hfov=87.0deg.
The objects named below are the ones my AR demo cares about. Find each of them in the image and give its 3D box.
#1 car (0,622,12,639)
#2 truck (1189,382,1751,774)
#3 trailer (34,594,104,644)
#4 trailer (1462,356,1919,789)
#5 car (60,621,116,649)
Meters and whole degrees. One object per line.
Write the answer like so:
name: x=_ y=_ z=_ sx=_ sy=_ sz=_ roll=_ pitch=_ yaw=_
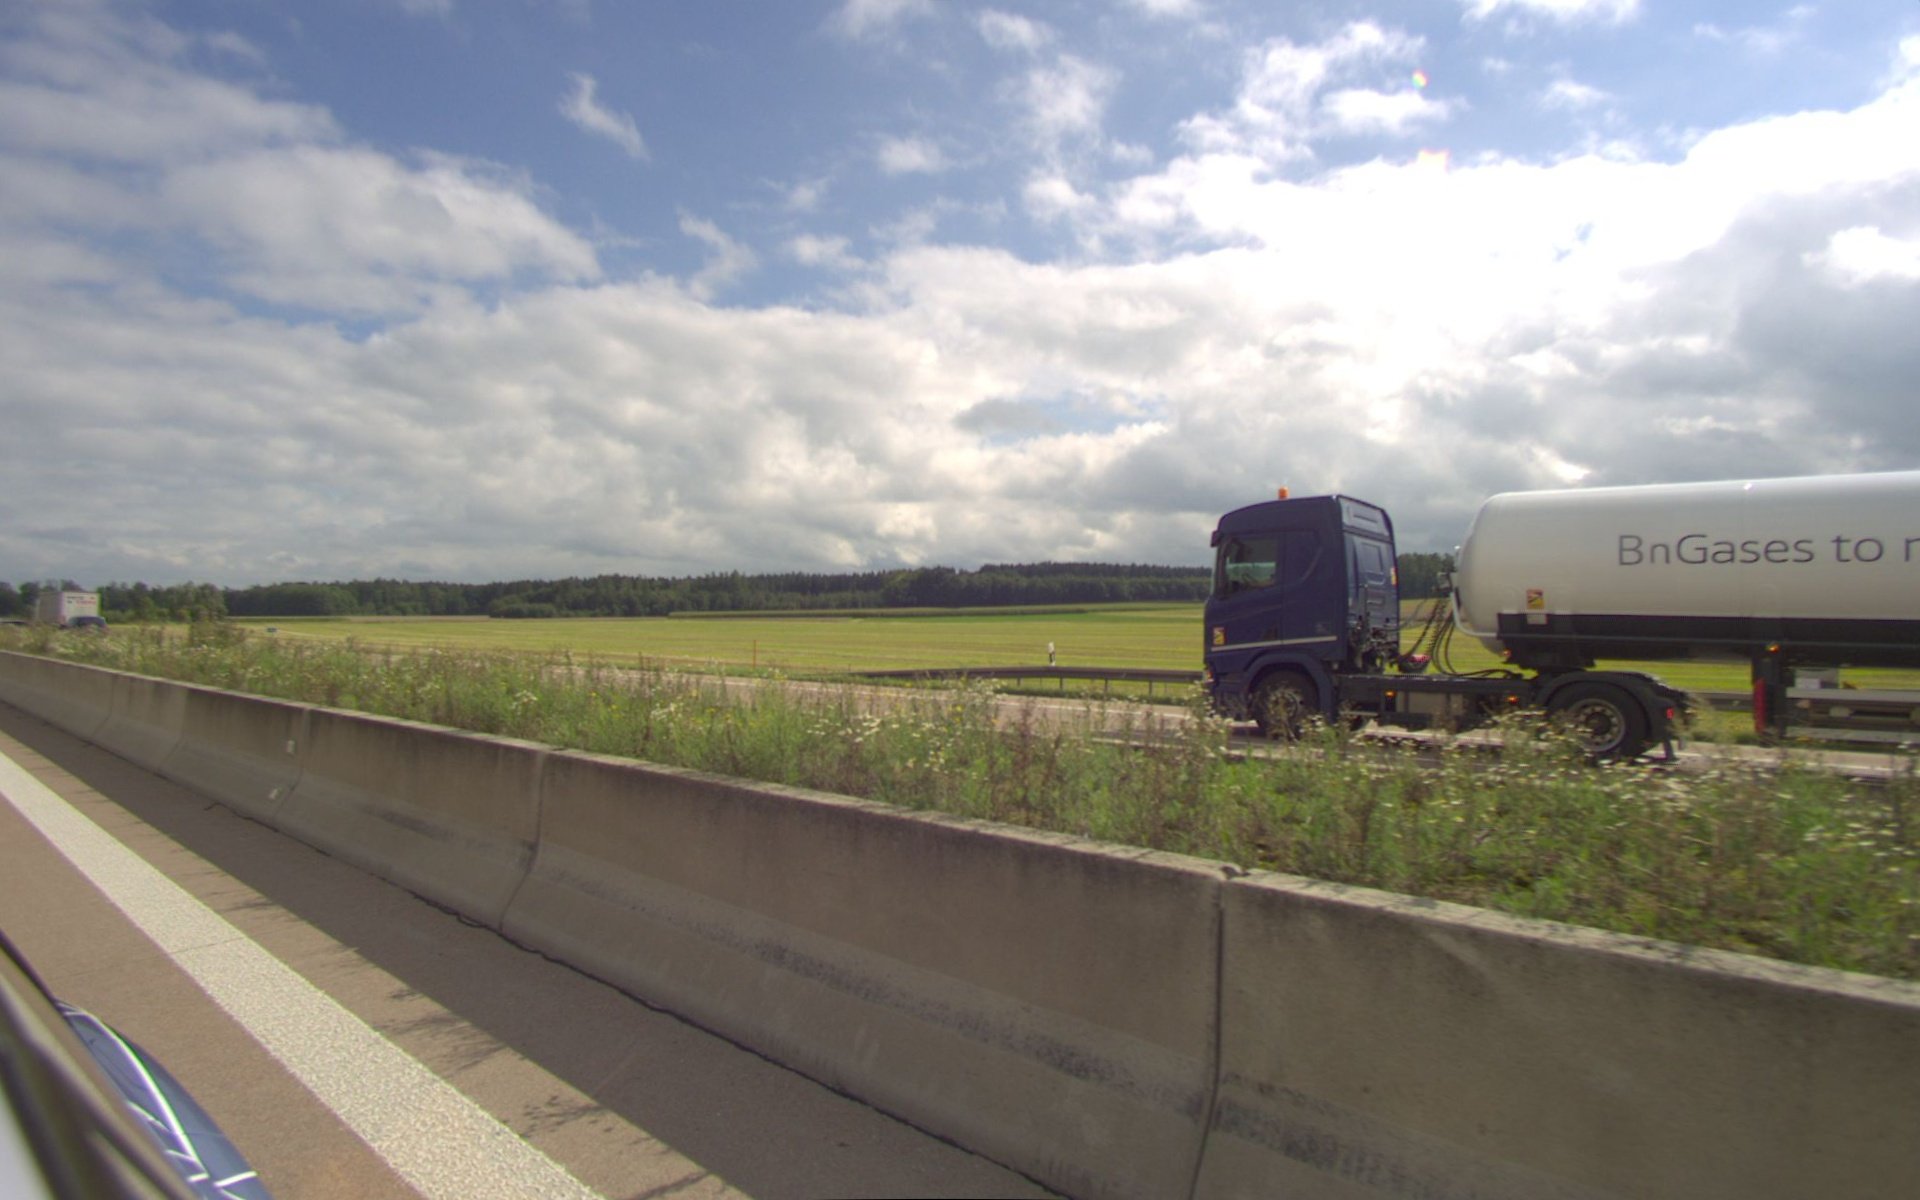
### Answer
car: x=-94.760 y=2.995 z=99.243 sx=4.781 sy=1.670 sz=1.973 roll=-1 pitch=-2 yaw=40
truck: x=6.664 y=-0.132 z=13.839 sx=6.333 sy=4.130 sz=2.860 roll=-1 pitch=-3 yaw=42
trailer: x=-79.697 y=1.701 z=90.395 sx=13.255 sy=4.129 sz=3.174 roll=-2 pitch=0 yaw=42
trailer: x=11.180 y=-0.241 z=9.727 sx=11.034 sy=4.130 sz=2.860 roll=-1 pitch=-3 yaw=42
car: x=-53.402 y=2.137 z=61.976 sx=4.253 sy=1.712 sz=1.973 roll=-1 pitch=-3 yaw=41
